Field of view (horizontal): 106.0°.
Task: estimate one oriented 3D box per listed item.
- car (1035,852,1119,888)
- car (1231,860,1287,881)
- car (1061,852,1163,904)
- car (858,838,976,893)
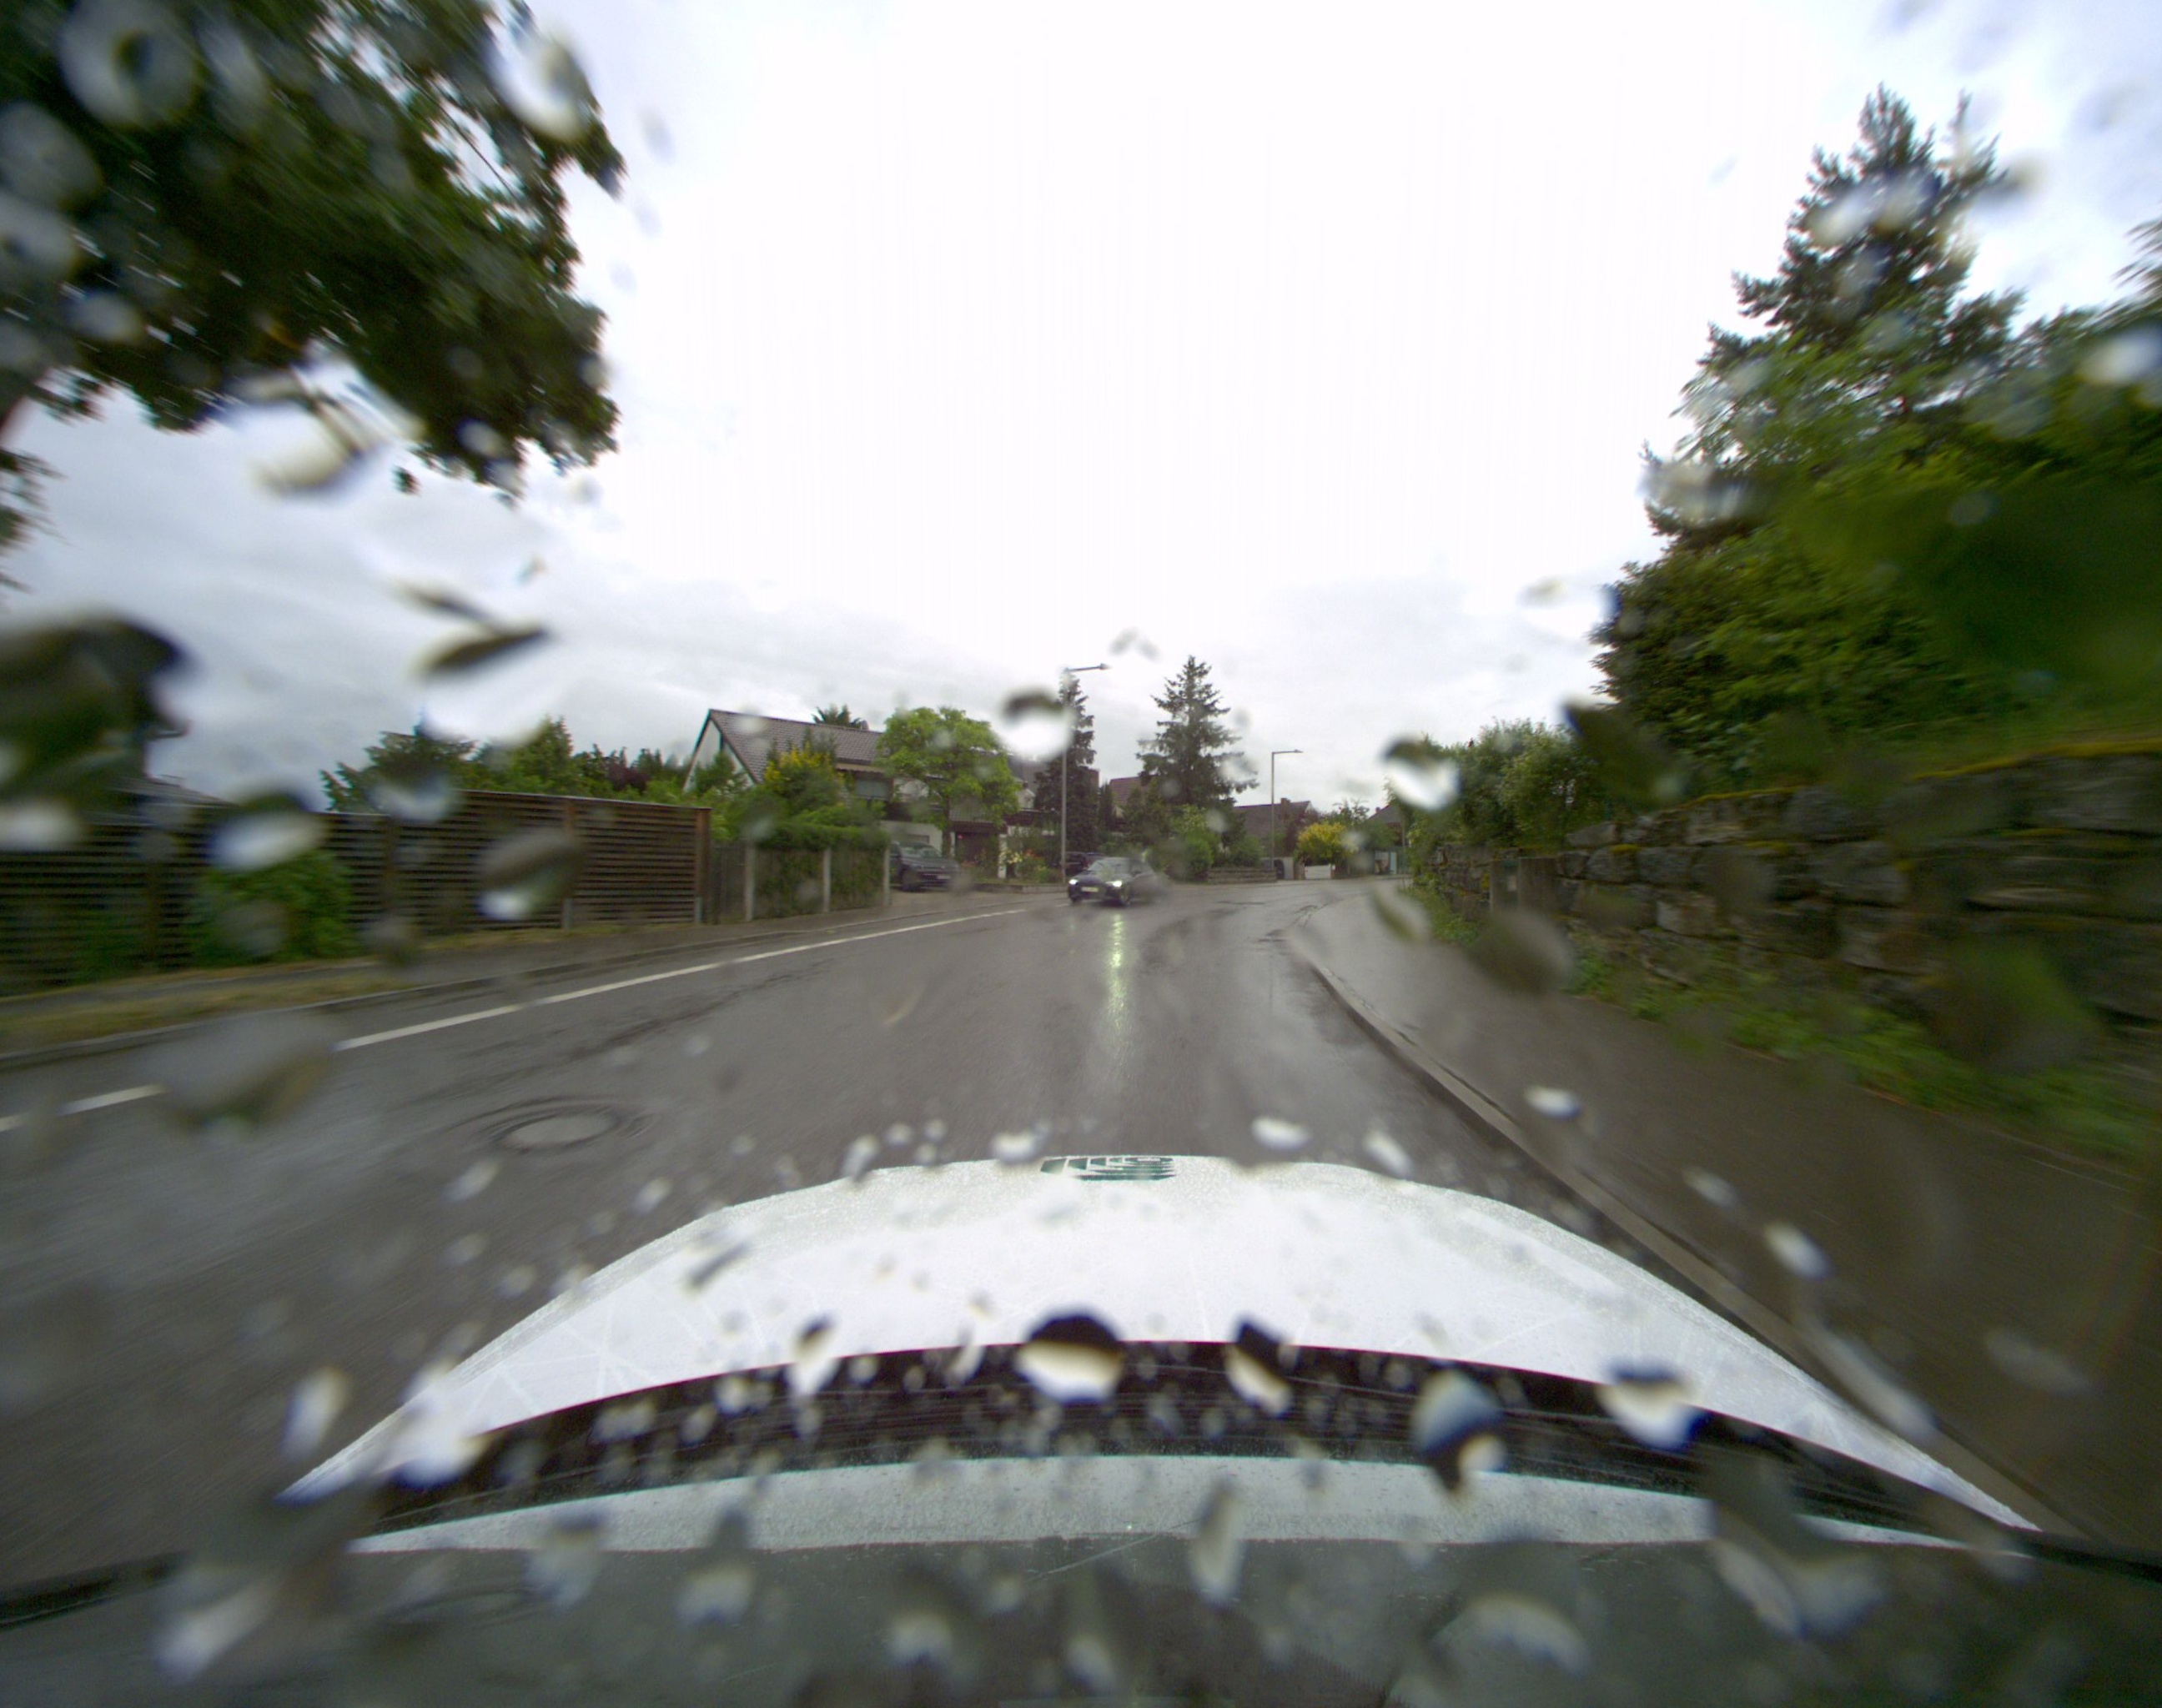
[{"bbox_3d":[-0.225,0.678,36.428,1.947,1.389,3.961,4,-1,-31],"label":"car"},{"bbox_3d":[14.358,1.338,65.882,2.011,1.620,3.951,1,-1,-43],"label":"car"},{"bbox_3d":[1.068,0.701,25.416,1.761,1.420,4.188,1,0,23],"label":"car"},{"bbox_3d":[-5.667,0.359,27.867,2.025,1.631,3.951,3,0,-45],"label":"car"}]
